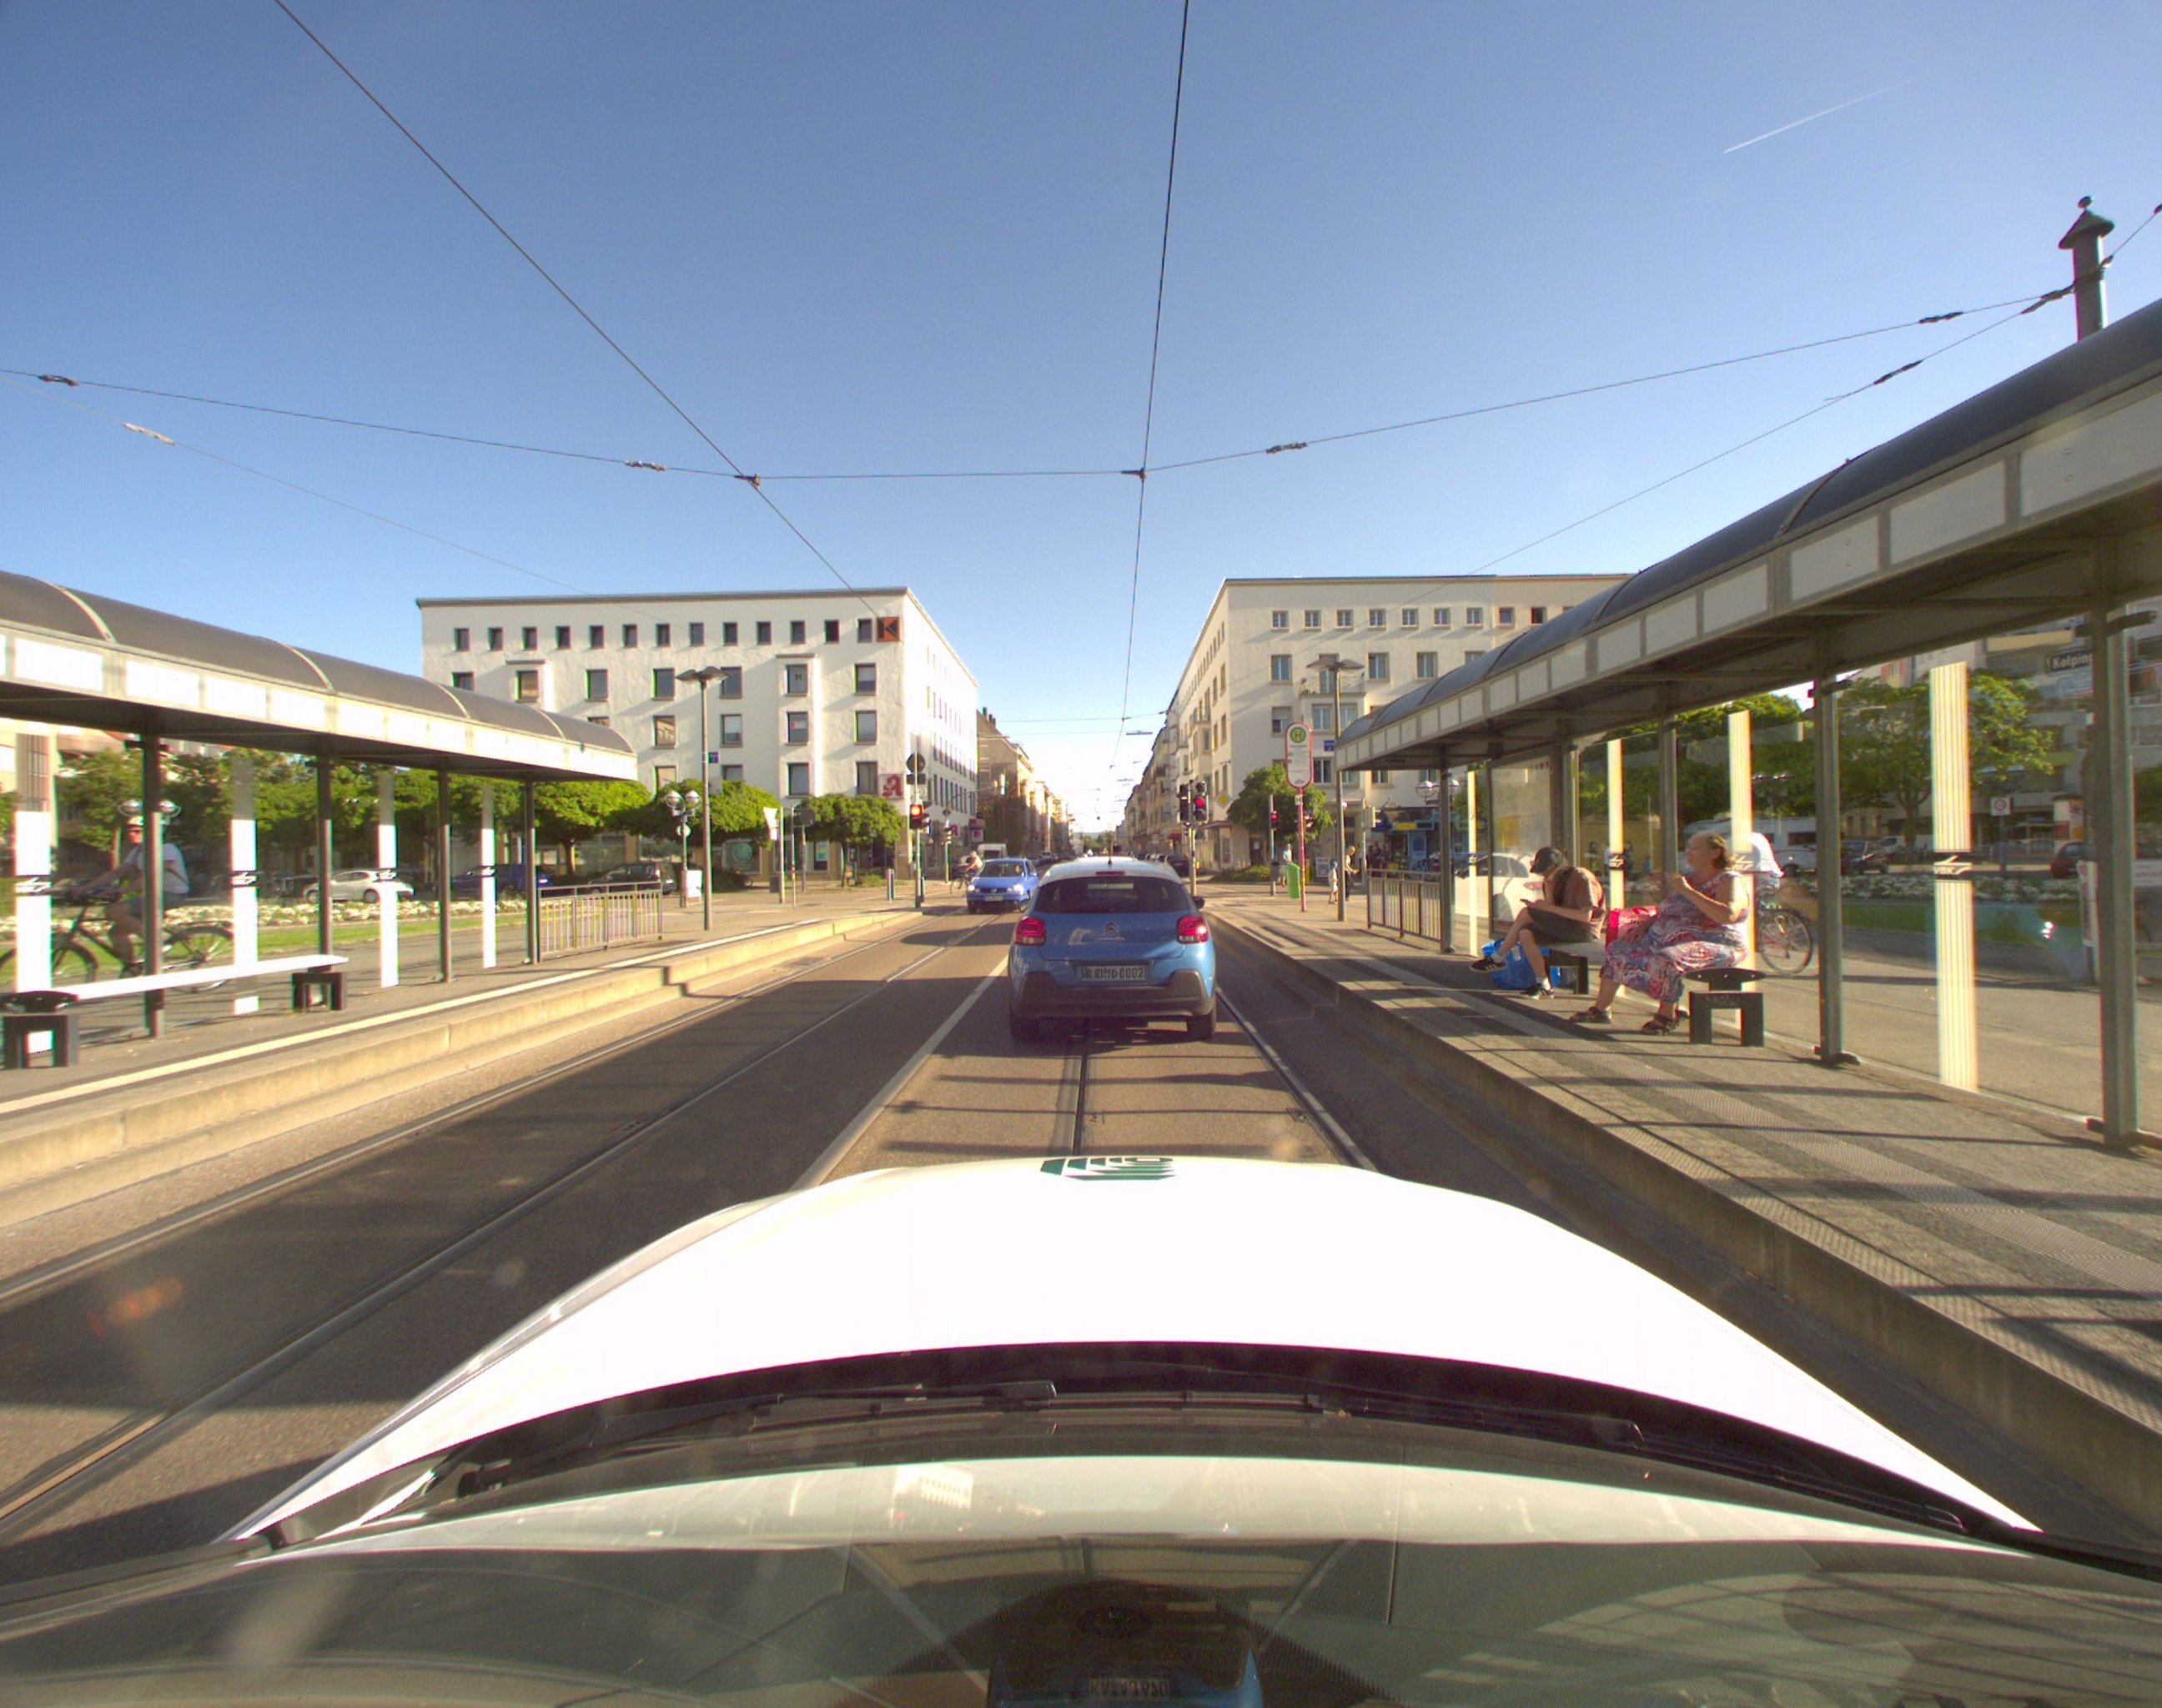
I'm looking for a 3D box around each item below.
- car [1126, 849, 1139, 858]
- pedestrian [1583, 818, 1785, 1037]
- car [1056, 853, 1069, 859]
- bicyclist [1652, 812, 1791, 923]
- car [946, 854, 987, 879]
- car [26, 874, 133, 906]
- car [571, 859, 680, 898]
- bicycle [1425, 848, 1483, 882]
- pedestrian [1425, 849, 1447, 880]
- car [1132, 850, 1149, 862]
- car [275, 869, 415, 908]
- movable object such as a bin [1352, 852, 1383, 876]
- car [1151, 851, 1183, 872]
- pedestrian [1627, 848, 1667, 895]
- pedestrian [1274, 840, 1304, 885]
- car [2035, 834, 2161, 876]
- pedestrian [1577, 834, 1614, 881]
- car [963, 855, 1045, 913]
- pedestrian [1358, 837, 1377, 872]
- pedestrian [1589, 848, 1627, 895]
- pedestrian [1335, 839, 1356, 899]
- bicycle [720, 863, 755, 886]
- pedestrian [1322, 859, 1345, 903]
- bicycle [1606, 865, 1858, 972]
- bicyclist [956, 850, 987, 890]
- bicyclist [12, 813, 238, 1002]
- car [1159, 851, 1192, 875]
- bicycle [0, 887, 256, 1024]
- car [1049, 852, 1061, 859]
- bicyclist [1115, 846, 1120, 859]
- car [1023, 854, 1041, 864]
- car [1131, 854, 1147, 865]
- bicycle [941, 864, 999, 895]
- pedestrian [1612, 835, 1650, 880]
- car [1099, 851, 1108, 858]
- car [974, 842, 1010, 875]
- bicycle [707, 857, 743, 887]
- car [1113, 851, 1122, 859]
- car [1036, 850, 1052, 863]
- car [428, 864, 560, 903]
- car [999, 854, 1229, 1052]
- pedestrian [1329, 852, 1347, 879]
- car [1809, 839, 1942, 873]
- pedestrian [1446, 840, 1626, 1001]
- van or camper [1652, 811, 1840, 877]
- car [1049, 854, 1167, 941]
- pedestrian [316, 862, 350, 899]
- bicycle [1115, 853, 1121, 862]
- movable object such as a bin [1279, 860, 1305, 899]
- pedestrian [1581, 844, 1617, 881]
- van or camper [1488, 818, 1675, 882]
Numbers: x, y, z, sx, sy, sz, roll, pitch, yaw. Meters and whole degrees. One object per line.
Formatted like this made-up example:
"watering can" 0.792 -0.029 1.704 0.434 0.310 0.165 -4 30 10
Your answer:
"car" 8.468 -0.123 134.619 1.986 1.464 4.002 -1 0 2
"pedestrian" 3.958 0.457 5.396 0.855 1.334 0.623 2 -1 1
"car" -4.247 0.478 186.848 1.981 1.156 4.528 -1 0 11
"bicyclist" 7.540 0.151 9.619 0.954 1.225 0.927 1 0 -20
"car" -7.567 0.805 54.270 1.987 1.569 4.403 2 0 1
"car" -52.276 1.853 42.633 1.925 1.494 4.314 0 -1 -27
"car" -21.171 1.137 37.955 3.972 1.706 1.826 -1 0 1
"bicycle" 17.441 0.508 38.070 2.376 1.531 0.726 1 0 0
"pedestrian" 16.648 0.483 38.219 0.727 1.409 0.755 -1 3 2
"car" 7.501 0.288 103.651 1.985 1.464 4.507 -1 0 2
"car" -33.439 1.538 37.078 4.591 1.606 1.855 -1 0 -1
"movable object such as a bin" 14.587 0.499 41.542 1.194 1.153 1.218 -1 0 2
"car" 6.111 0.526 58.316 1.986 1.464 4.002 -1 0 2
"pedestrian" 19.368 0.595 27.899 0.897 1.585 0.663 -1 0 5
"pedestrian" 8.962 0.381 35.088 0.978 1.878 1.128 -1 -1 -1
"car" 38.717 0.025 30.532 3.983 1.486 1.995 -1 0 -7
"pedestrian" 18.688 0.126 29.573 0.896 1.685 0.697 -1 0 8
"car" -2.096 0.770 23.056 1.659 1.487 4.004 0 0 4
"pedestrian" 15.362 0.035 43.732 0.781 1.839 0.679 -1 0 5
"pedestrian" 18.217 0.599 28.165 0.897 1.585 0.663 -1 0 5
"pedestrian" 7.904 0.446 24.368 0.554 1.745 0.528 0 -1 12
"bicycle" -19.028 1.109 45.228 0.615 1.190 2.624 -1 0 5
"pedestrian" 7.137 0.753 23.027 0.554 1.225 0.528 0 -1 12
"bicycle" 7.559 0.686 9.641 0.721 1.061 2.308 1 0 -20
"bicyclist" -4.061 0.580 30.261 0.880 1.455 0.822 0 -1 -32
"bicyclist" -9.710 0.505 8.344 1.002 1.793 1.093 -1 0 -7
"car" 6.212 0.584 53.891 1.902 1.464 4.002 -1 0 2
"bicycle" -9.674 0.950 8.252 0.711 1.126 2.031 -1 0 -7
"car" -4.895 0.237 152.304 1.986 1.156 4.002 -1 0 2
"bicyclist" 5.872 -0.242 131.457 0.806 2.014 0.923 0 -1 1
"car" -6.342 0.642 105.246 1.987 1.325 3.923 0 -1 1
"car" 7.892 0.769 111.371 1.985 1.464 4.003 -1 0 3
"bicycle" -4.109 0.931 30.222 1.984 1.113 0.723 0 0 -33
"pedestrian" 19.783 0.116 29.297 0.897 1.585 0.663 -1 0 5
"car" 5.823 0.233 209.696 1.988 1.778 3.997 -1 0 -2
"car" -7.025 0.343 64.628 2.078 2.542 6.206 0 0 1
"bicycle" -19.751 0.967 45.271 0.614 1.607 2.625 -1 0 6
"car" 7.884 0.224 175.770 1.986 1.772 4.002 -1 0 2
"car" -5.768 0.387 128.824 1.997 2.014 4.694 0 -1 4
"car" -27.066 1.358 37.687 4.591 1.662 1.999 -1 0 -1
"car" 0.305 0.740 8.019 1.721 1.482 3.828 0 0 2
"pedestrian" 12.716 0.550 40.309 0.733 1.316 0.631 -1 0 25
"car" 36.717 0.122 37.756 3.959 1.511 2.007 0 -1 13
"pedestrian" 3.771 0.523 6.839 0.995 1.225 0.923 2 -1 2
"van or camper" 30.199 -0.432 37.187 6.375 2.839 2.381 -1 0 5
"car" 0.522 0.727 16.099 1.977 1.464 4.817 0 0 2
"pedestrian" -38.019 1.339 41.401 0.938 1.817 0.872 -1 0 13
"bicycle" 5.900 0.504 131.291 0.916 1.389 3.133 -1 0 2
"movable object such as a bin" 4.407 0.526 17.011 0.447 0.786 0.489 -1 0 4
"pedestrian" 18.380 0.310 28.908 0.896 1.279 0.606 -1 0 8
"van or camper" 22.938 -0.217 37.564 7.093 2.747 2.372 -1 1 2
